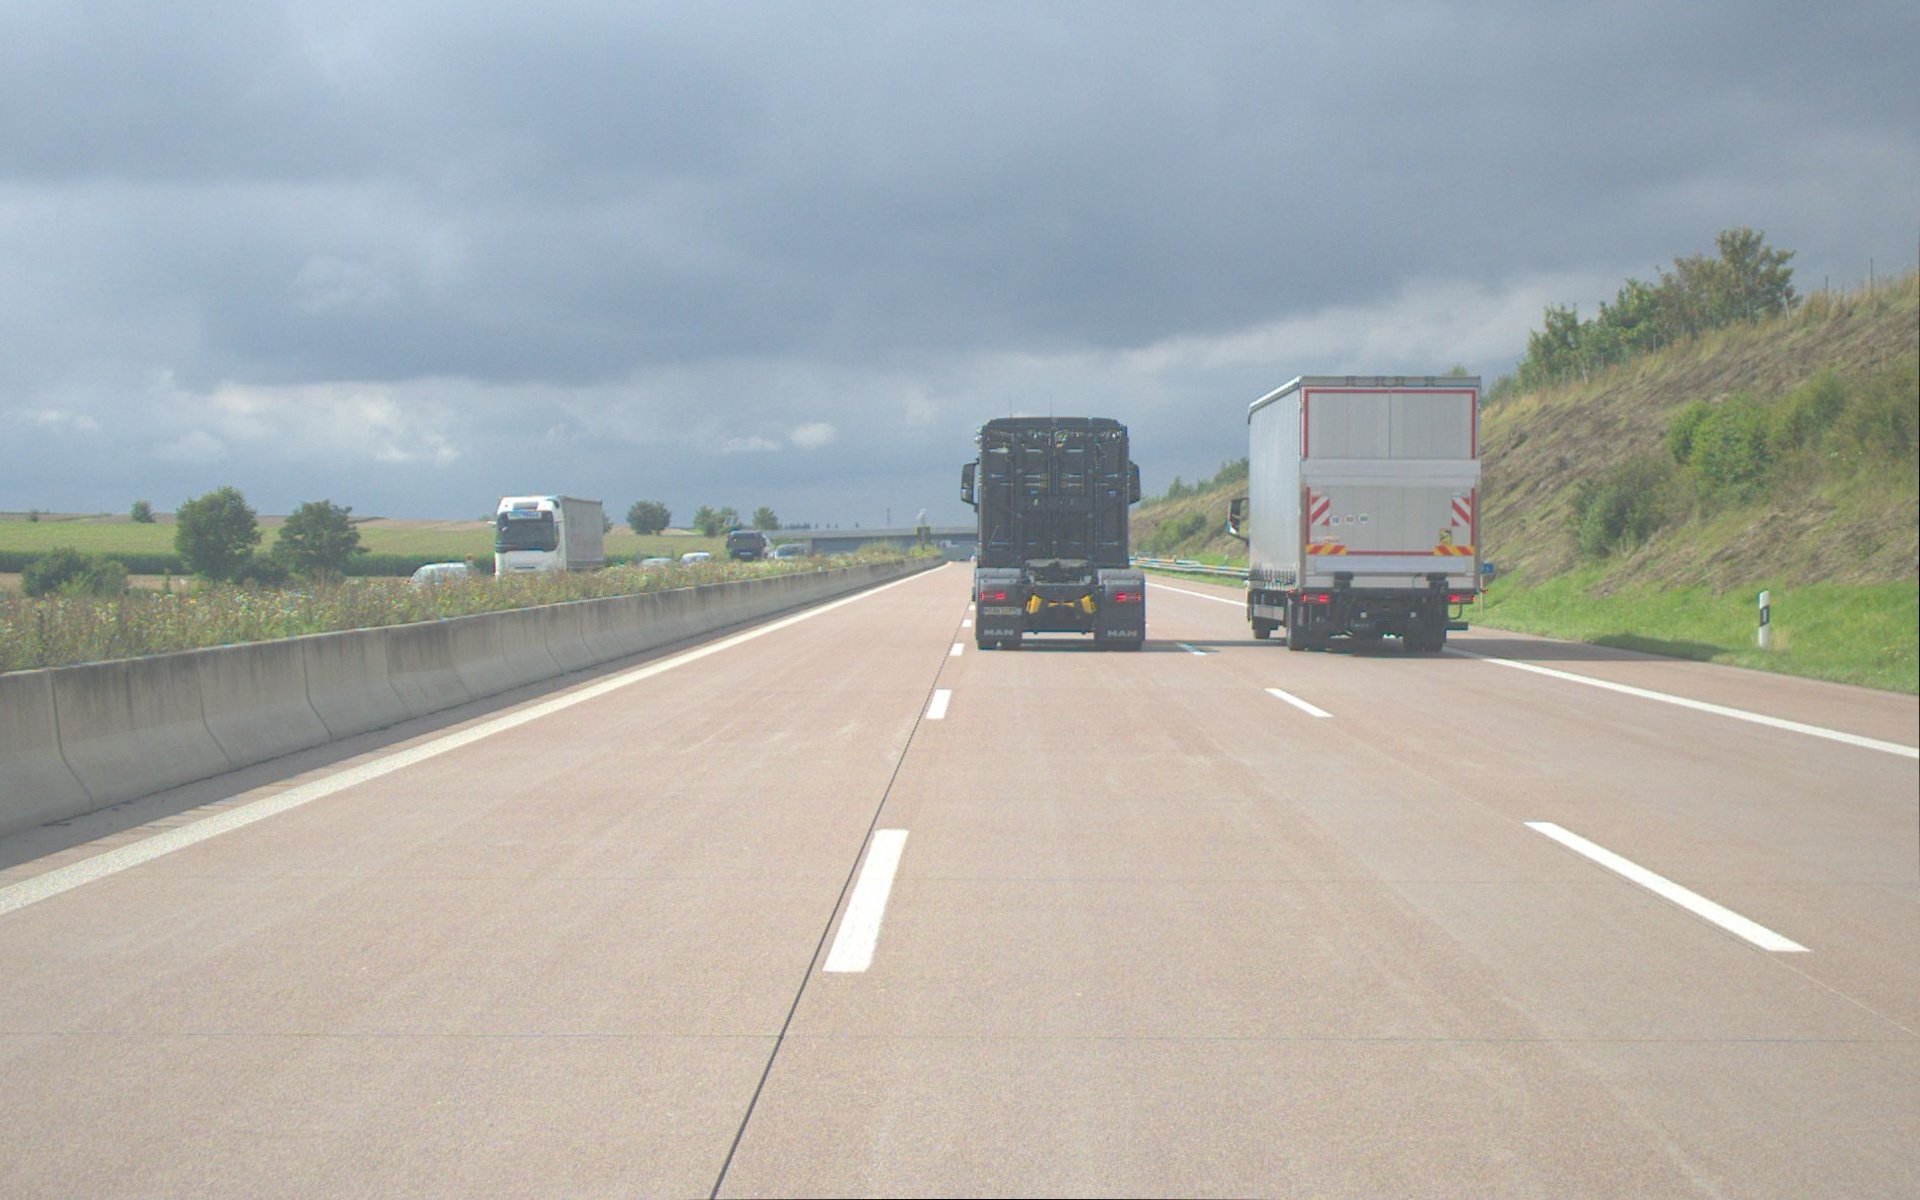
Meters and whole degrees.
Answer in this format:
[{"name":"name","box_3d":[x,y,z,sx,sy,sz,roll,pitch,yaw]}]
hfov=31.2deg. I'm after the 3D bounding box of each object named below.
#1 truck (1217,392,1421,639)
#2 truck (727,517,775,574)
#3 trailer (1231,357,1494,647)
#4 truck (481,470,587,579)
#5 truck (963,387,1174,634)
[{"name":"truck","box_3d":[5.838,-1.359,56.502,2.748,3.878,4.546,1,1,-1]},{"name":"truck","box_3d":[-15.641,-4.055,257.152,2.892,4.084,6.335,-2,1,1]},{"name":"trailer","box_3d":[5.937,-1.410,52.104,2.747,3.998,8.671,1,1,-1]},{"name":"truck","box_3d":[-16.645,-2.957,134.688,3.206,4.084,6.126,1,1,1]},{"name":"truck","box_3d":[1.567,-1.339,53.700,2.847,3.537,8.320,1,1,-1]}]
